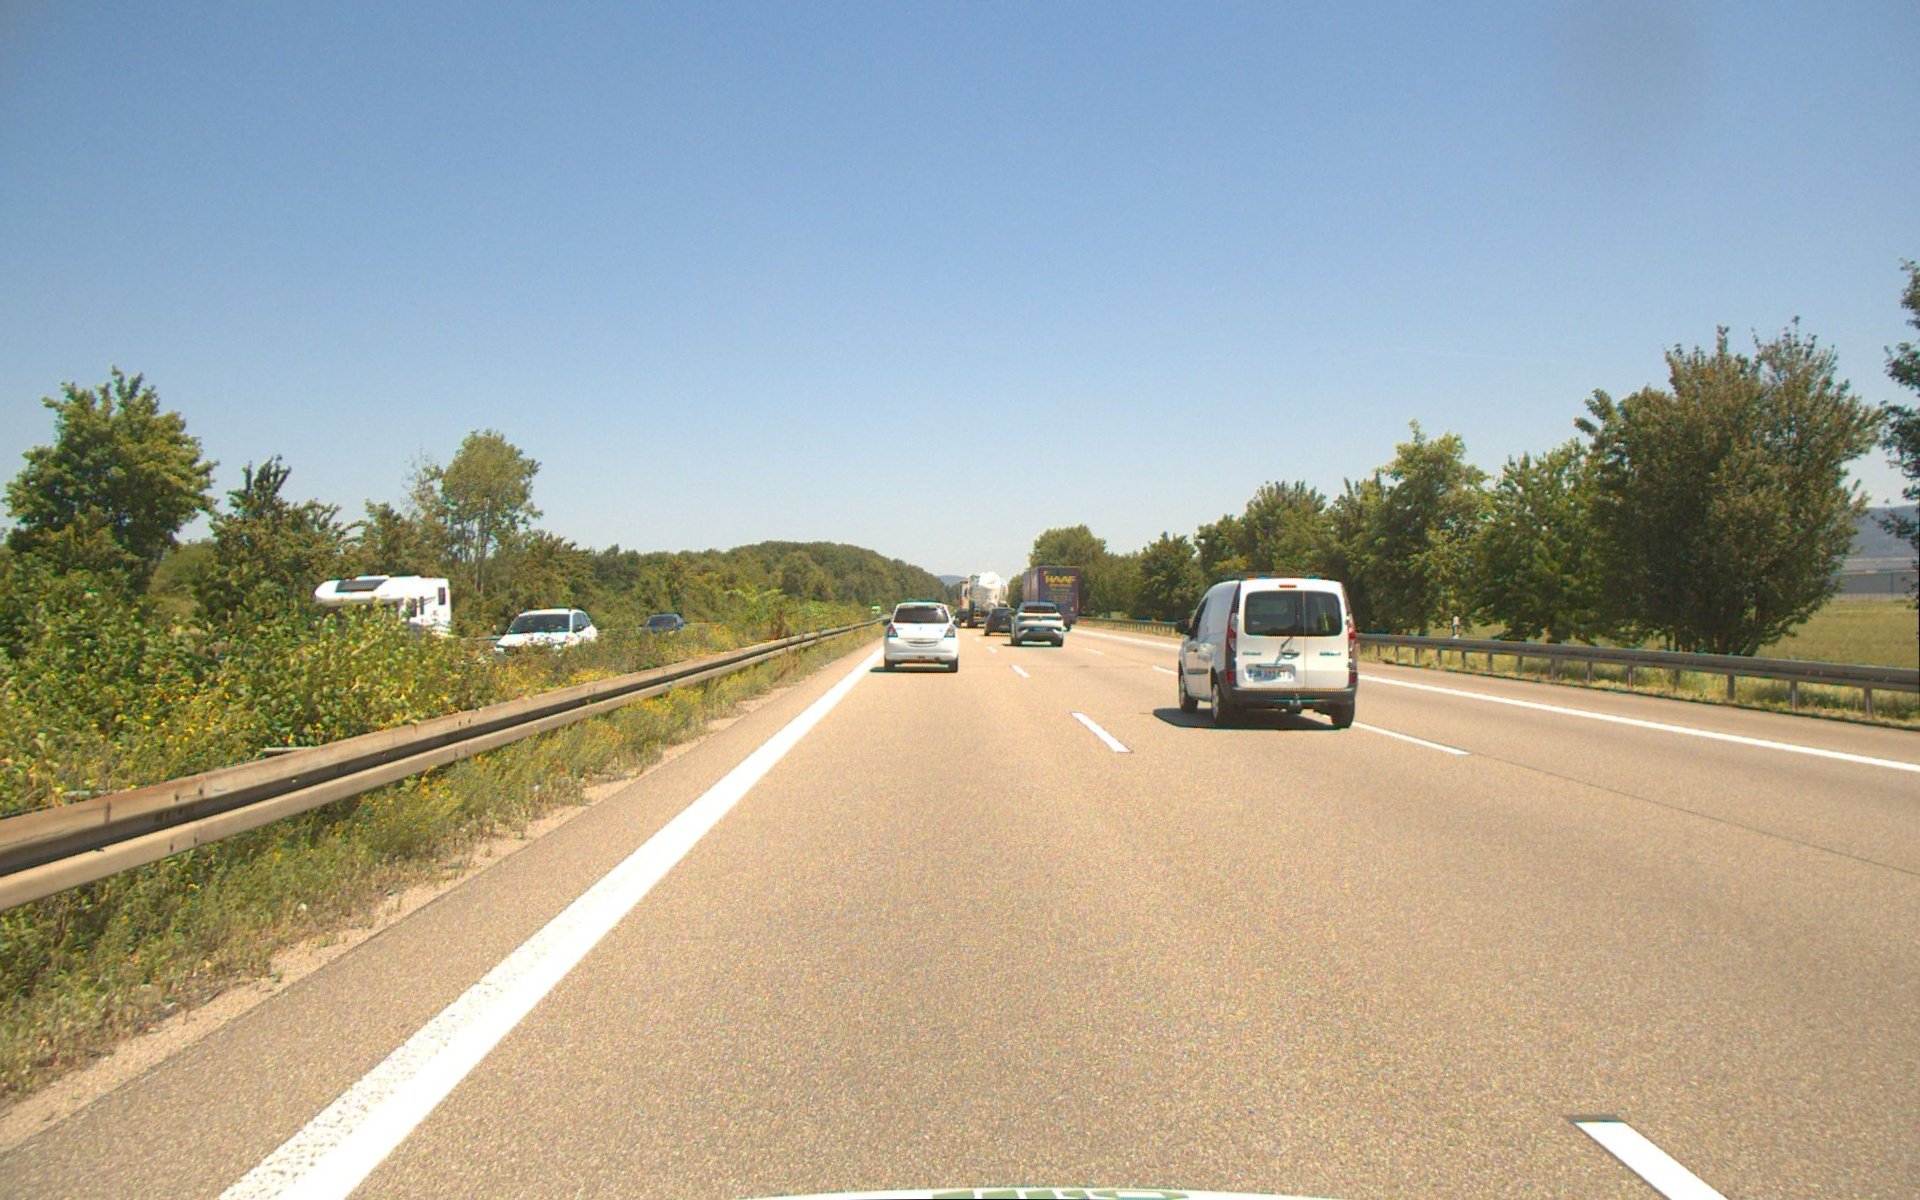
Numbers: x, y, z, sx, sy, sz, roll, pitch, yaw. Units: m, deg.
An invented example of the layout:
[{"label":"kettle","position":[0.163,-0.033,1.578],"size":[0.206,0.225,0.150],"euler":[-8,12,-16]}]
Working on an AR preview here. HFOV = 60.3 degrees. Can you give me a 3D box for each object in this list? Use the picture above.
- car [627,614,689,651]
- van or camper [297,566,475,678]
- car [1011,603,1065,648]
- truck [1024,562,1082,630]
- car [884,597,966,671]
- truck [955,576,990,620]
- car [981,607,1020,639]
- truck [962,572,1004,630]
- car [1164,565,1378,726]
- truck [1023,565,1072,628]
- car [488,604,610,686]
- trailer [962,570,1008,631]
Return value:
[{"label":"car","position":[-13.339,1.413,73.267],"size":[1.917,1.493,4.750],"euler":[-2,0,-1]},{"label":"van or camper","position":[-17.248,0.644,50.280],"size":[2.792,3.021,7.445],"euler":[-3,0,-1]},{"label":"car","position":[2.899,0.929,62.328],"size":[1.765,1.631,4.380],"euler":[1,0,-1]},{"label":"truck","position":[6.139,-0.233,111.623],"size":[3.045,4.211,15.510],"euler":[1,0,0]},{"label":"car","position":[-0.804,0.738,37.591],"size":[1.763,1.579,3.609],"euler":[1,0,-2]},{"label":"truck","position":[1.251,-0.134,169.342],"size":[3.325,4.288,12.082],"euler":[1,0,0]},{"label":"car","position":[2.043,1.136,84.101],"size":[1.813,1.549,3.956],"euler":[1,0,-1]},{"label":"truck","position":[1.671,0.079,123.676],"size":[2.853,4.151,7.193],"euler":[1,0,-1]},{"label":"car","position":[4.004,0.557,22.089],"size":[1.816,1.895,4.700],"euler":[1,0,-2]},{"label":"truck","position":[6.128,-0.210,116.881],"size":[3.045,4.211,8.055],"euler":[1,0,0]},{"label":"car","position":[-9.623,1.008,39.070],"size":[1.700,1.643,4.589],"euler":[-5,0,-2]},{"label":"trailer","position":[1.737,0.045,119.096],"size":[2.852,4.140,12.415],"euler":[1,0,-1]}]
